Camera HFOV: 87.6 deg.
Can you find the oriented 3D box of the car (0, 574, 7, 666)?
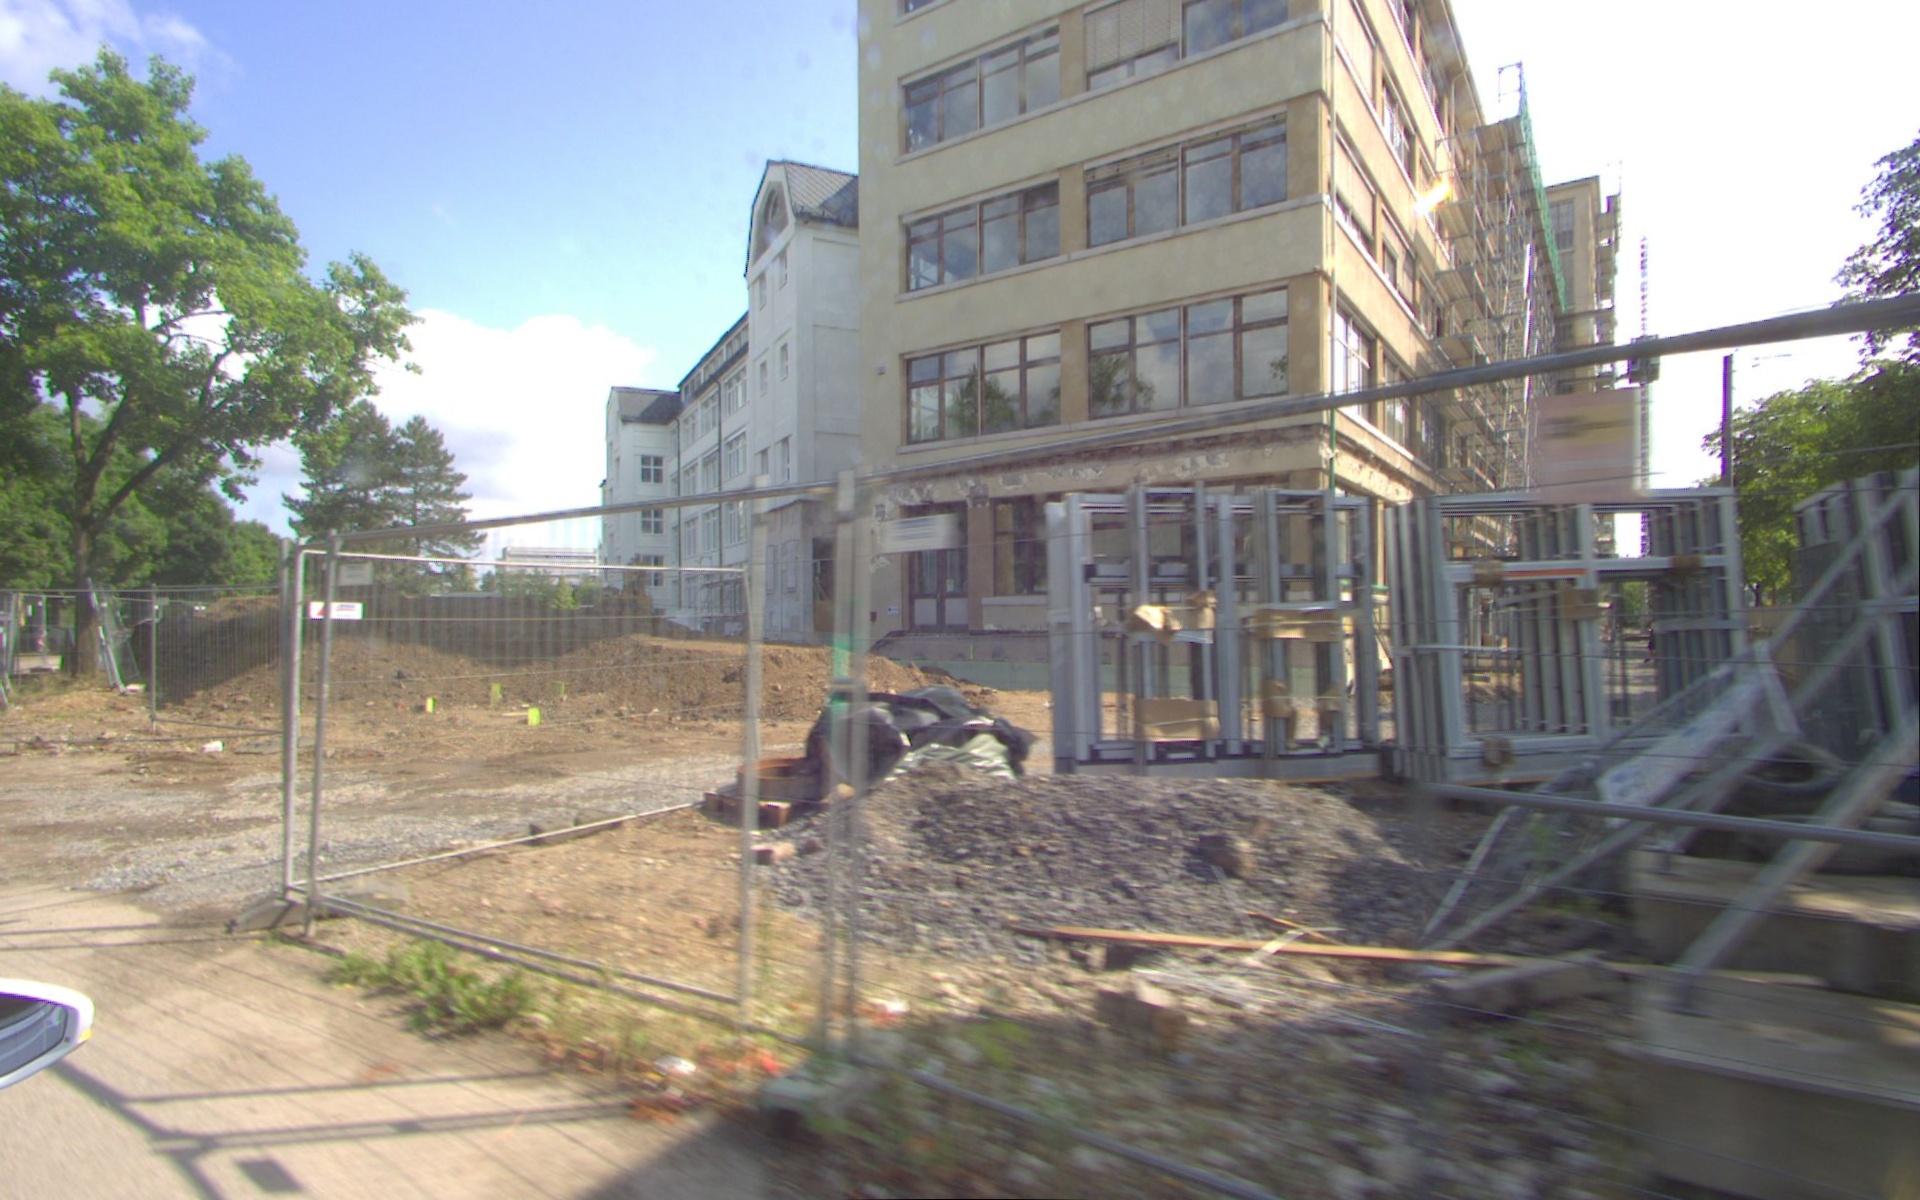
[{"bbox_3d":[-35.370,0.468,32.037,6.912,3.084,1.981,5,-5,-44],"label":"car"}]

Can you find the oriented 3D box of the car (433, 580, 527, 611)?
[{"bbox_3d":[-27.823,-0.239,58.158,4.795,1.445,1.839,2,-5,-27],"label":"car"}]

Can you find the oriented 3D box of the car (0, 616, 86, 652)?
[{"bbox_3d":[-41.104,1.491,43.825,3.945,1.445,1.836,3,-5,-31],"label":"car"}]

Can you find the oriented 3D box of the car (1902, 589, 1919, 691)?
[{"bbox_3d":[24.882,0.945,24.227,2.100,2.599,5.890,0,-4,34],"label":"car"}]
